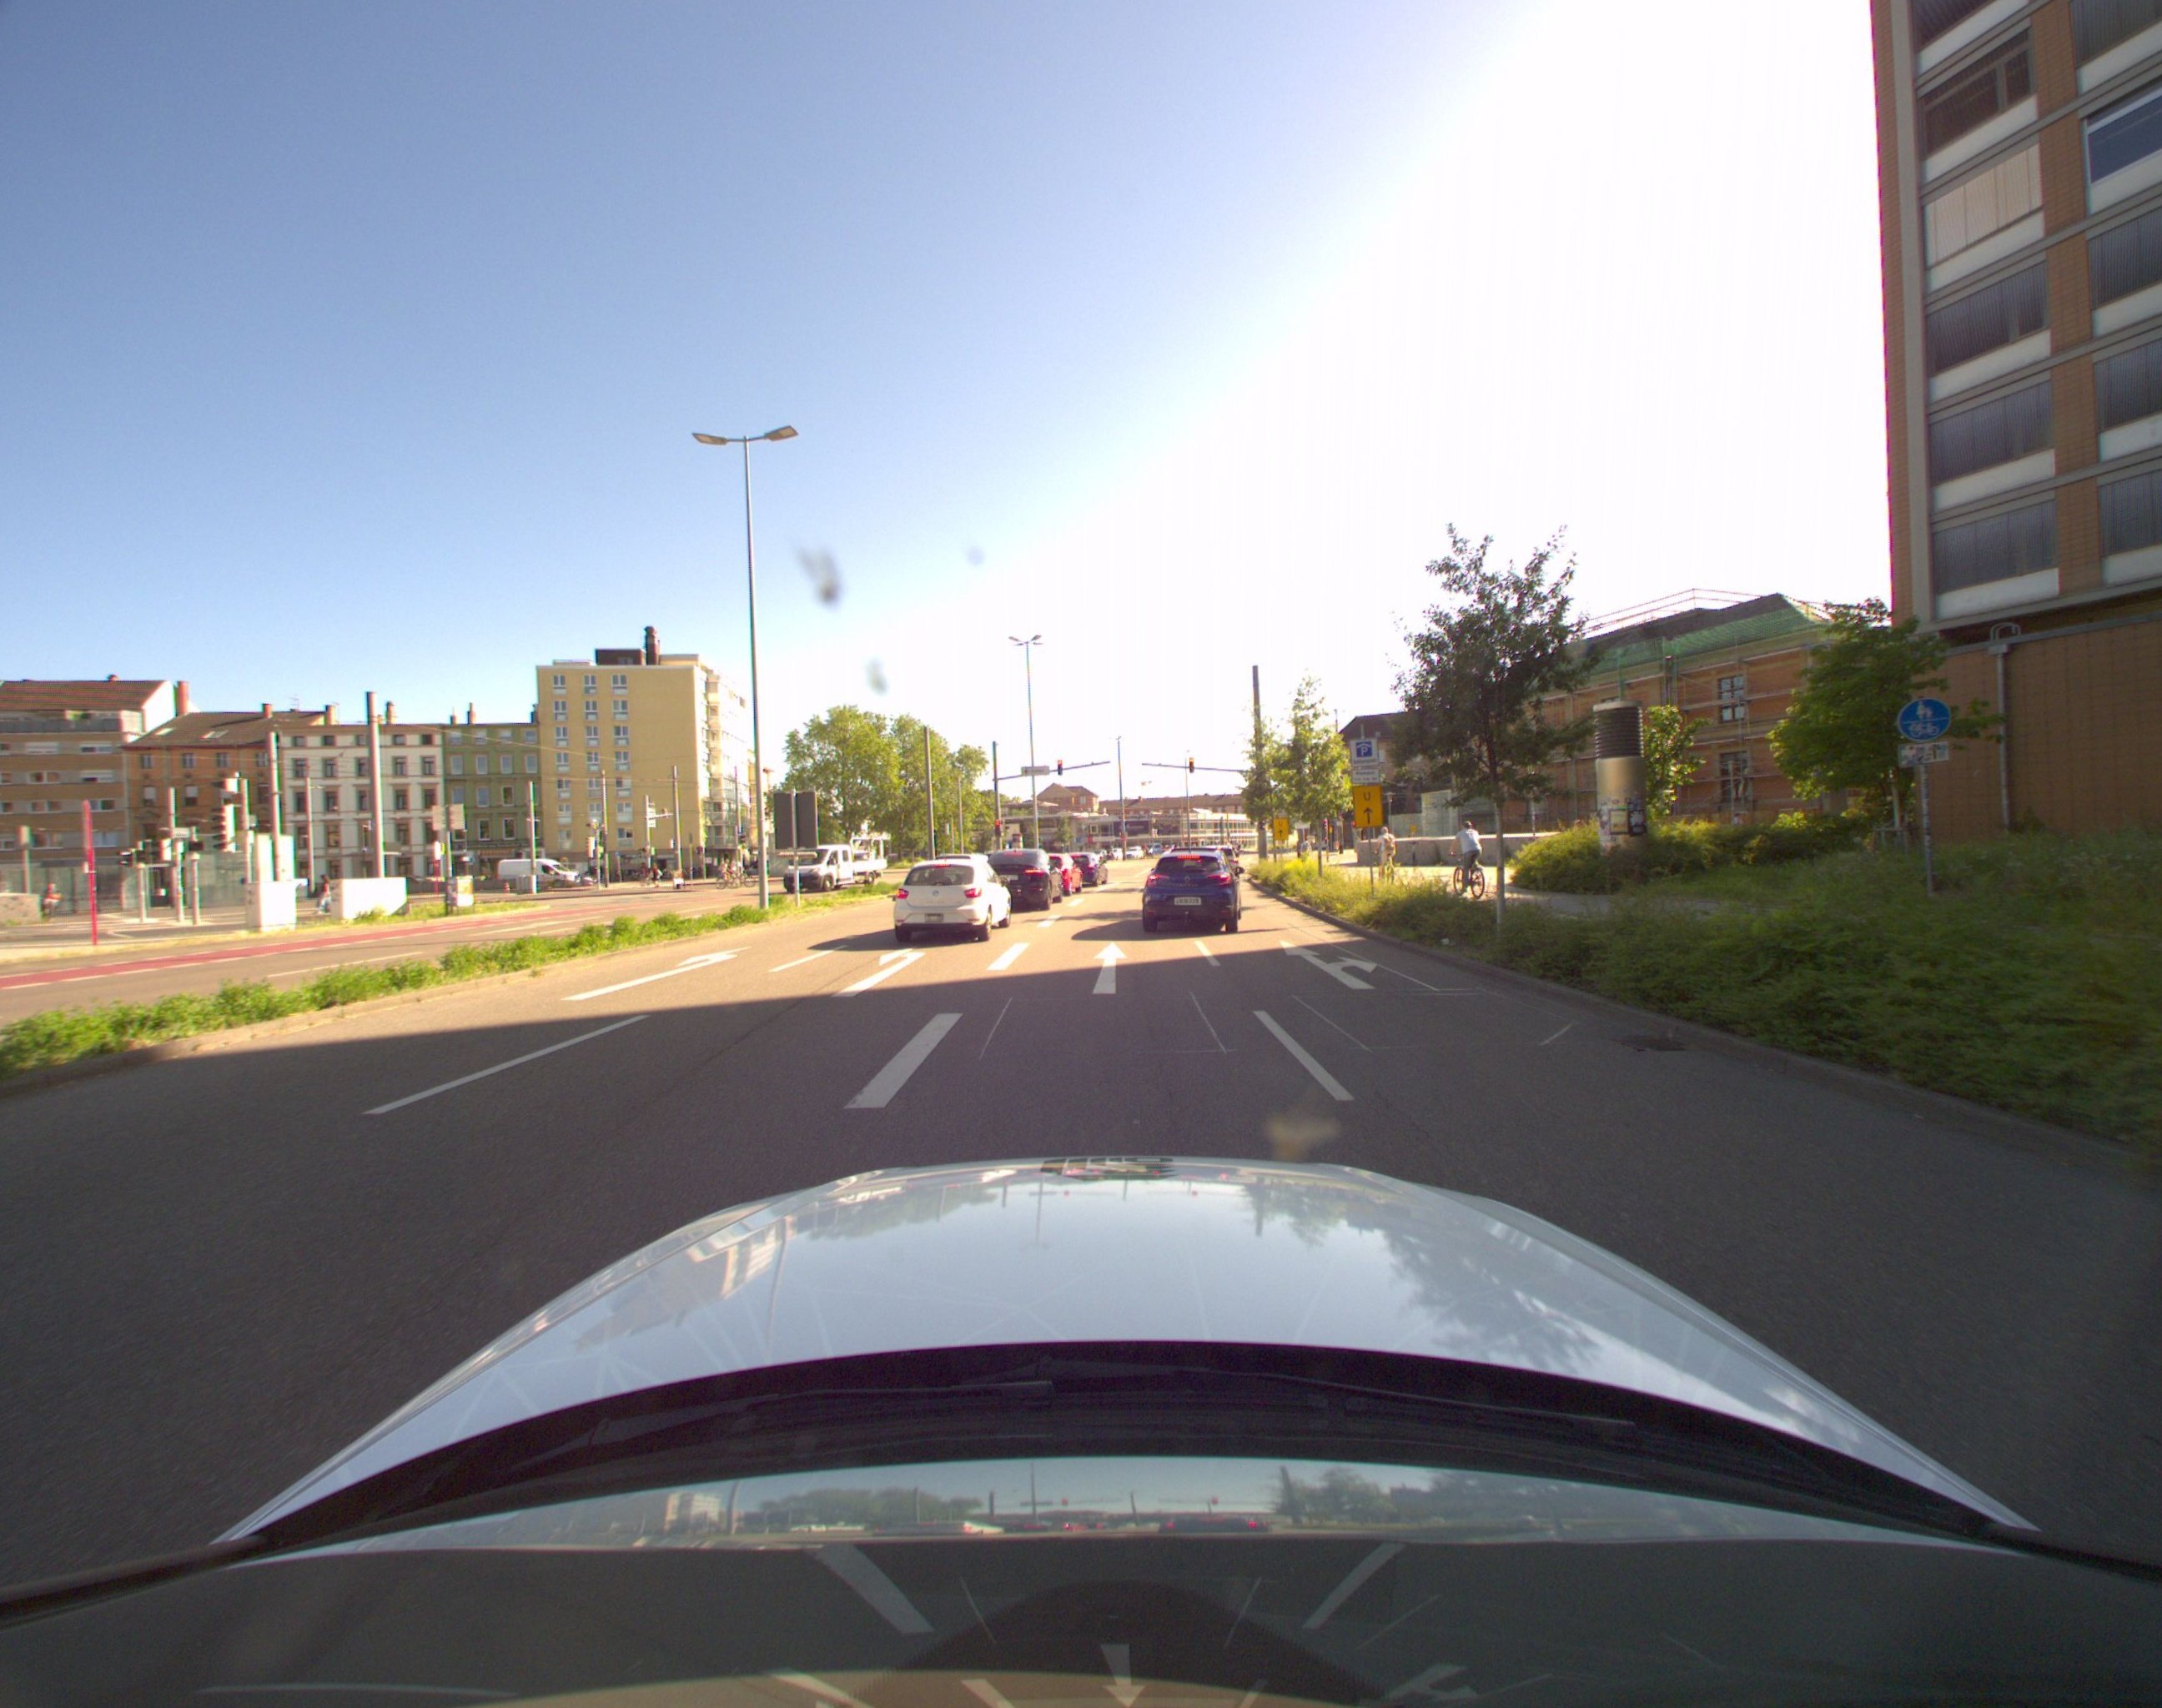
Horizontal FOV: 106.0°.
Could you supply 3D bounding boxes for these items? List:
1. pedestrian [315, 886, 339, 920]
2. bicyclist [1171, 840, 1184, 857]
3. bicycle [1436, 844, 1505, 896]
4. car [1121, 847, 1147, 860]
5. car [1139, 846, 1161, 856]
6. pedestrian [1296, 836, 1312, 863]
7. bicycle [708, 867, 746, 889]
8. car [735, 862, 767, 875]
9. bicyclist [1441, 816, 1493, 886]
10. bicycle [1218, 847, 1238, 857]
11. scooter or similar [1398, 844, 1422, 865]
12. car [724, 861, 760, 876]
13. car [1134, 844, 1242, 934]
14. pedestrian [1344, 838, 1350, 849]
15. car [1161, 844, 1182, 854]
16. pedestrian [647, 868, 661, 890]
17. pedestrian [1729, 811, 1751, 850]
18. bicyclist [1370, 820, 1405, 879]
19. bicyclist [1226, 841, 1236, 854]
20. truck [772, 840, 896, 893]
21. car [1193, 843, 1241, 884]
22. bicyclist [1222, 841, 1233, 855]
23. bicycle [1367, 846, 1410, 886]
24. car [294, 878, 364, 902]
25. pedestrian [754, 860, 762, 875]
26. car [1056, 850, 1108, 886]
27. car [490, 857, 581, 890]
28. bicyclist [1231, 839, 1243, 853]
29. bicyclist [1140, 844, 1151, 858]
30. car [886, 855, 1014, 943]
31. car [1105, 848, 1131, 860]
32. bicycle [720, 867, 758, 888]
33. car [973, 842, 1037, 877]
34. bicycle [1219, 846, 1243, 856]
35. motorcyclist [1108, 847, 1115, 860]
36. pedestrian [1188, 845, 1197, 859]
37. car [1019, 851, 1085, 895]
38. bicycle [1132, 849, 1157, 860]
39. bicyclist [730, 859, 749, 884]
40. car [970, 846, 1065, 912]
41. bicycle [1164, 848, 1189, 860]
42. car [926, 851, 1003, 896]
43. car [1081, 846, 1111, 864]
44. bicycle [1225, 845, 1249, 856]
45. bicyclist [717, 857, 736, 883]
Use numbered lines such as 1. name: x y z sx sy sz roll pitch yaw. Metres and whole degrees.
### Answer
1. pedestrian: -20.629 1.338 22.296 0.299 0.897 0.354 -2 0 -3
2. bicyclist: 10.753 -0.603 90.735 1.187 1.776 0.942 -2 2 -18
3. bicycle: 9.357 0.348 19.633 0.714 1.165 1.870 -2 1 -1
4. car: 6.558 -0.076 100.701 1.709 1.442 4.209 -2 0 26
5. car: 9.729 -0.436 114.733 1.709 1.442 4.209 0 1 26
6. pedestrian: 14.151 -0.281 51.582 0.588 1.723 0.876 -3 -3 44
7. bicycle: -20.394 1.368 46.922 1.941 1.165 0.644 -2 0 5
8. car: -38.594 1.702 95.287 3.266 1.316 1.519 -2 2 -13
9. bicyclist: 9.339 -0.071 19.731 0.717 1.617 0.977 -2 0 -1
10. bicycle: 17.066 -0.261 94.606 2.178 1.095 0.756 -2 0 -10
11. scooter or similar: 16.484 0.031 40.856 0.468 1.012 1.244 -2 2 -14
12. car: -37.752 1.629 90.742 3.435 1.510 1.686 -2 0 -12
13. car: 2.314 0.614 16.712 1.864 1.617 3.811 0 1 12
14. pedestrian: 36.095 -1.382 110.479 0.596 1.409 0.801 -2 2 2
15. car: 13.467 -0.792 121.244 1.709 1.442 4.209 0 1 26
16. pedestrian: -28.296 1.631 53.935 0.593 1.408 0.567 -2 2 -9
17. pedestrian: 30.795 -1.105 38.062 0.533 1.752 0.792 -1 2 13
18. bicyclist: 9.614 -0.144 25.564 0.716 1.762 0.979 -2 0 4
19. bicyclist: 17.151 -0.742 93.322 0.958 1.449 0.969 -2 0 2
20. truck: -11.920 0.521 40.026 2.196 2.313 6.916 -2 0 18
21. car: 5.714 0.370 34.115 1.865 1.617 3.635 -1 0 10
22. bicyclist: 17.008 -0.664 94.590 0.985 1.604 0.756 -2 0 -9
23. bicycle: 9.633 0.359 25.583 0.742 1.165 1.873 -2 1 4
24. car: -65.545 3.085 71.048 3.985 1.771 1.995 -2 2 -9
25. pedestrian: -34.831 1.464 87.870 0.607 1.610 0.796 -2 2 -15
26. car: 0.105 0.558 35.238 1.715 1.442 3.808 0 0 8
27. car: -42.928 1.503 64.194 5.487 2.411 1.993 -2 0 -10
28. bicyclist: 18.337 -0.894 95.894 1.063 1.584 0.944 -2 2 -10
29. bicyclist: 7.420 -0.365 93.535 1.063 1.584 0.944 -2 2 -10
30. car: -2.366 0.762 15.613 1.684 1.436 3.739 -1 0 2
31. car: 4.739 -0.020 103.976 1.709 1.442 4.209 -2 0 26
32. bicycle: -20.130 1.352 47.943 1.941 1.165 0.644 -2 0 5
33. car: -3.274 0.219 35.735 1.713 1.442 3.923 0 0 12
34. bicycle: 17.205 -0.356 93.323 2.632 1.095 0.969 -2 0 2
35. motorcyclist: 3.591 -0.059 96.406 0.544 1.621 0.748 -2 0 22
36. pedestrian: 13.179 -0.296 96.109 0.856 1.610 0.695 -4 3 -41
37. car: -0.948 0.612 28.804 1.662 1.442 3.731 0 0 8
38. bicycle: 7.302 0.075 93.541 2.646 1.188 0.944 -2 2 -10
39. bicyclist: -20.111 1.038 47.943 0.770 1.444 0.644 -2 0 5
40. car: -1.647 0.615 22.625 1.975 1.624 4.383 -1 0 4
41. bicycle: 10.619 -0.004 90.696 2.653 1.188 0.942 -2 2 -18
42. car: -3.997 0.624 28.507 1.716 1.442 3.806 0 0 7
43. car: 1.795 0.095 97.237 1.975 2.013 4.025 0 3 26
44. bicycle: 18.375 -0.422 95.888 2.646 1.188 0.944 -2 2 -10
45. bicyclist: -20.426 0.916 46.922 0.770 1.444 0.644 -2 0 6
